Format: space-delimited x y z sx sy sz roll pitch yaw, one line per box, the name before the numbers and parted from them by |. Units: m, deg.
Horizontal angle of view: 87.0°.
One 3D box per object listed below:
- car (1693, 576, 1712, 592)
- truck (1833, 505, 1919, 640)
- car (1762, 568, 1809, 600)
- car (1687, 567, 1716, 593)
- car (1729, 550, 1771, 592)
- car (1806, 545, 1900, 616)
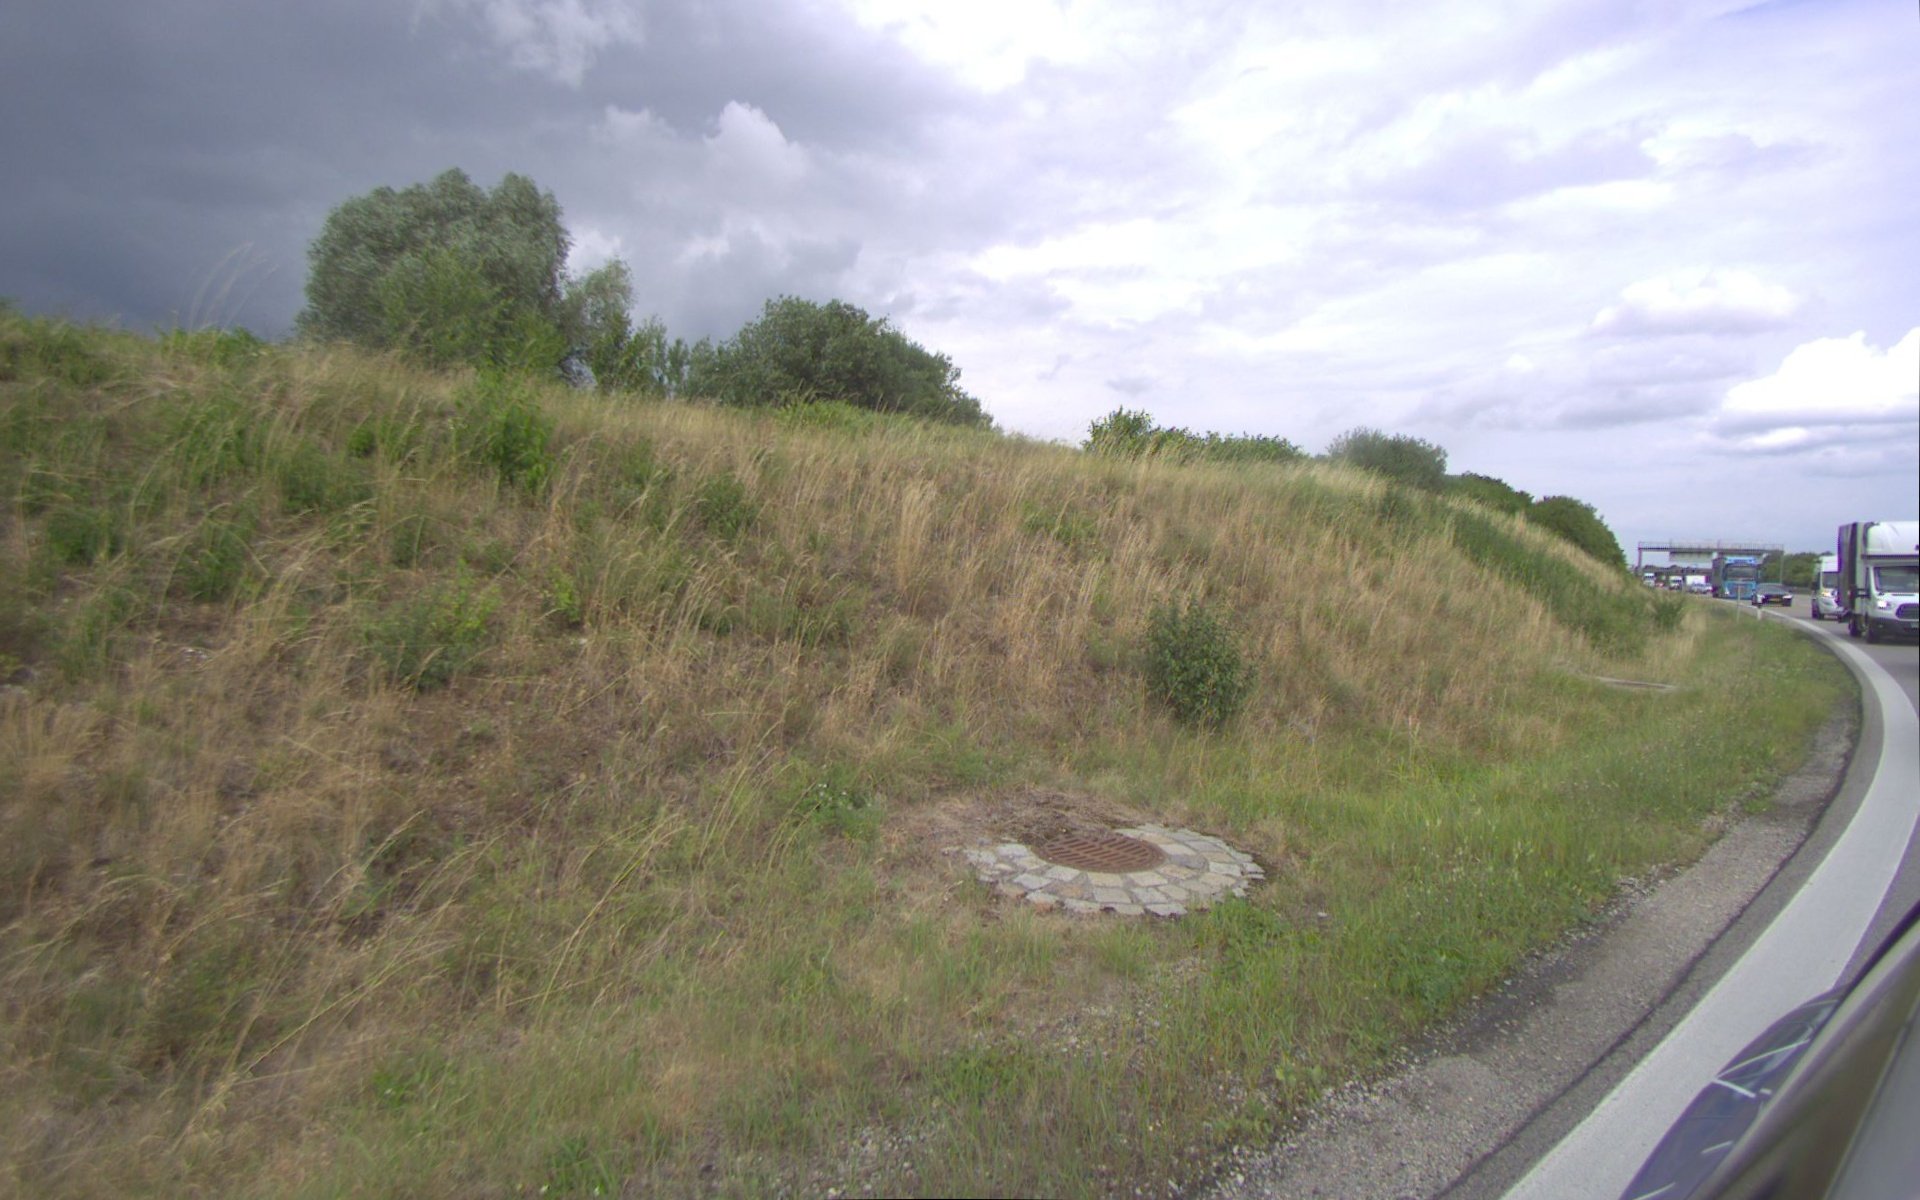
car | 100.813 -2.174 137.358 1.919 2.057 3.951 2 2 35
truck | 25.692 -0.730 27.288 2.434 3.275 7.103 1 2 35
car | 53.778 -1.076 65.991 1.987 2.038 3.951 2 2 34
car | 104.780 -2.895 143.060 2.928 3.509 6.492 2 2 34
car | 74.472 -2.732 95.467 2.489 3.756 7.609 2 2 34
car | 37.874 -0.864 43.097 2.008 2.779 6.846 1 2 33
